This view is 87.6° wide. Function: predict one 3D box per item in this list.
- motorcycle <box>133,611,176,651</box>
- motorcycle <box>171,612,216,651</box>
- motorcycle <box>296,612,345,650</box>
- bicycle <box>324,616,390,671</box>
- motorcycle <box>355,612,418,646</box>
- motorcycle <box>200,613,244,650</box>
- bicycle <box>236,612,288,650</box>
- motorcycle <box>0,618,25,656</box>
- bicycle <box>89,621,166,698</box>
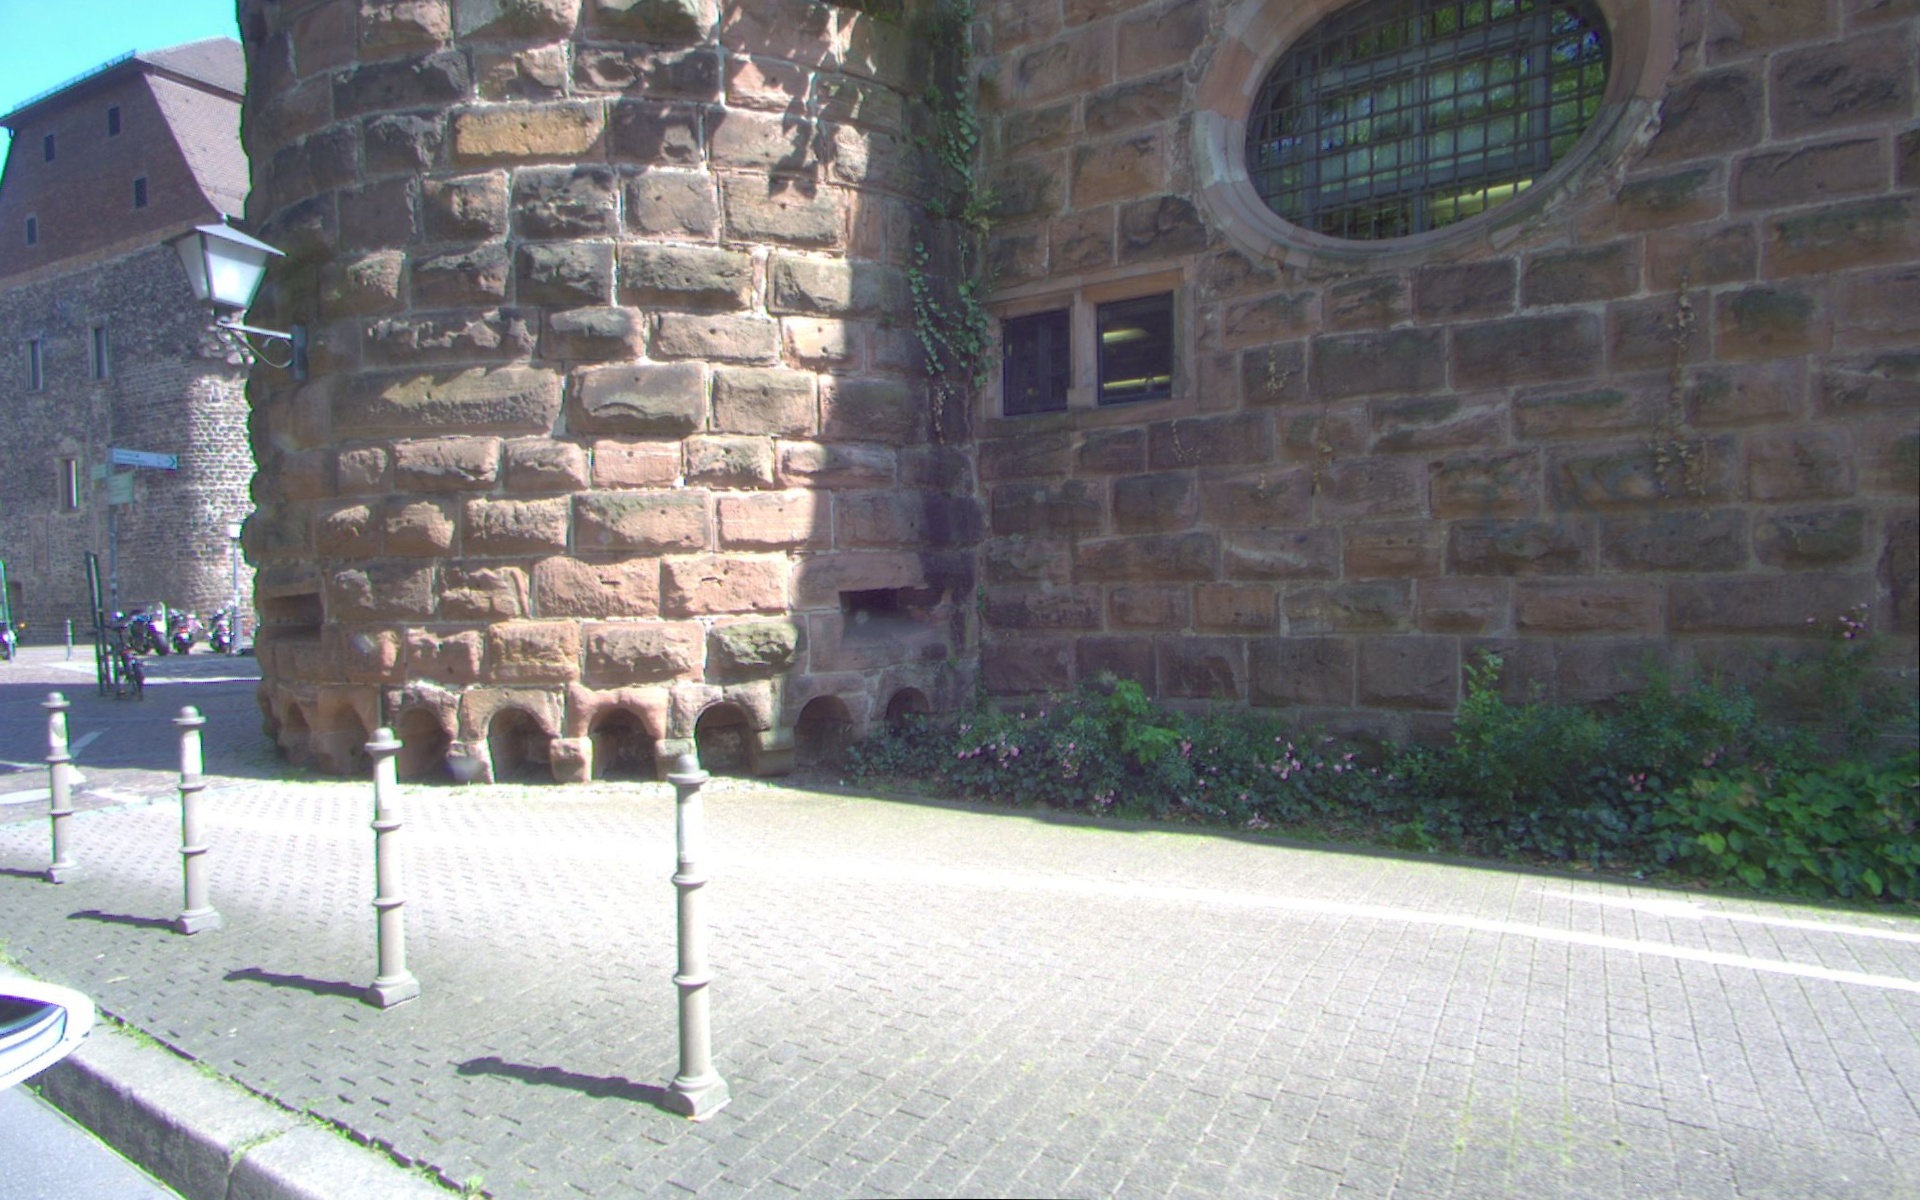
[{"bbox_3d":[-20.442,0.788,25.411,1.339,0.986,0.435,-1,-1,33],"label":"motorcycle"},{"bbox_3d":[-20.014,0.814,26.137,1.446,0.986,0.457,-1,-1,33],"label":"motorcycle"},{"bbox_3d":[-17.980,0.867,28.136,1.677,1.032,0.498,-1,-1,33],"label":"motorcycle"},{"bbox_3d":[-11.943,0.854,19.817,2.027,1.043,0.494,-1,-2,40],"label":"bicycle"},{"bbox_3d":[-18.161,0.929,31.733,0.495,1.032,1.686,-1,-2,45],"label":"motorcycle"},{"bbox_3d":[-19.924,0.844,27.025,1.446,0.986,0.457,-1,-1,33],"label":"motorcycle"},{"bbox_3d":[-18.885,0.846,27.084,1.798,1.002,0.403,-1,-1,30],"label":"bicycle"},{"bbox_3d":[-22.247,0.828,23.053,2.247,0.829,0.482,0,2,33],"label":"motorcycle"},{"bbox_3d":[-12.058,0.834,14.478,2.027,1.044,0.493,-1,0,40],"label":"bicycle"}]
